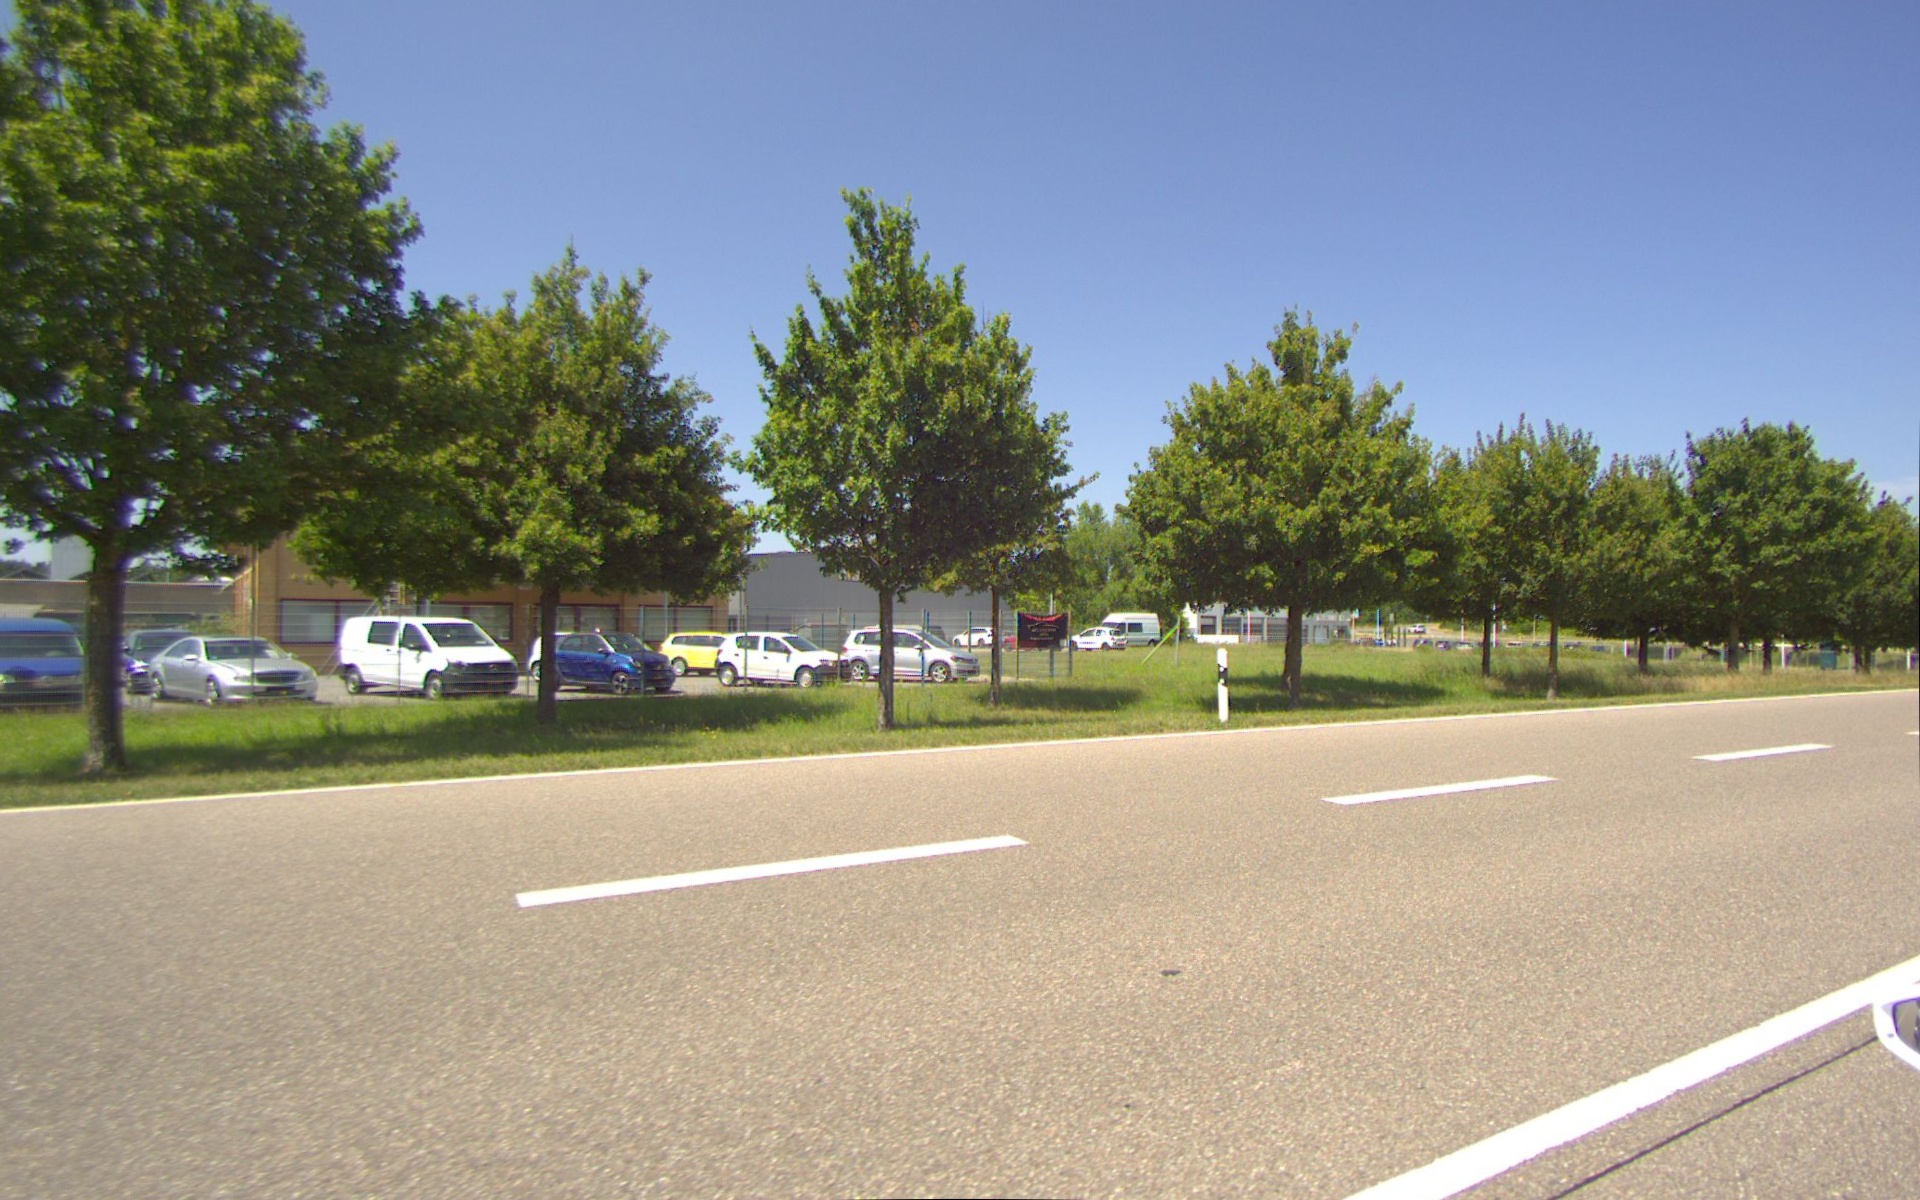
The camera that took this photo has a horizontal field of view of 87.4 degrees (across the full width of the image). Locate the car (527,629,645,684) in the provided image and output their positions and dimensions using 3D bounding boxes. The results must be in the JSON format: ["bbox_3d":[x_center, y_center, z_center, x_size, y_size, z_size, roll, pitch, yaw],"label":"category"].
[{"bbox_3d":[-11.223,1.662,30.123,3.284,1.472,1.511,1,0,27],"label":"car"}]

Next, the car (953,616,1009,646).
[{"bbox_3d":[1.473,2.210,71.872,1.980,2.040,3.961,2,-1,-35],"label":"car"}]

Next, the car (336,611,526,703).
[{"bbox_3d":[-12.773,1.286,24.196,4.581,1.980,1.824,1,0,29],"label":"car"}]

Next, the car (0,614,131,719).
[{"bbox_3d":[-18.363,1.220,19.885,4.235,1.825,2.018,1,-1,36],"label":"car"}]

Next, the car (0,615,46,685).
[{"bbox_3d":[-35.180,1.720,34.583,2.016,2.458,5.103,-1,-3,22],"label":"car"}]

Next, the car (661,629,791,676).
[{"bbox_3d":[-7.874,1.748,33.868,3.920,1.416,1.739,1,0,17],"label":"car"}]

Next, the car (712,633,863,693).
[{"bbox_3d":[-4.890,1.732,28.485,3.915,1.499,1.673,1,0,21],"label":"car"}]

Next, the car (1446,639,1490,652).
[{"bbox_3d":[56.805,5.116,112.387,3.922,1.412,2.000,1,-2,-3],"label":"car"}]

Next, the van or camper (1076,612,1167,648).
[{"bbox_3d":[11.387,2.118,70.640,6.473,2.394,2.446,2,-1,-35],"label":"van or camper"}]

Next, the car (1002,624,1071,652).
[{"bbox_3d":[4.465,2.188,58.807,1.910,1.528,3.959,2,-1,-36],"label":"car"}]

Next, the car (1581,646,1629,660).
[{"bbox_3d":[68.827,5.677,107.174,3.922,1.412,2.000,1,-2,-3],"label":"car"}]

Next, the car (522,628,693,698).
[{"bbox_3d":[-9.232,1.592,26.340,3.923,1.617,1.999,1,-1,24],"label":"car"}]

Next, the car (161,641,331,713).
[{"bbox_3d":[-15.450,1.601,21.708,3.617,1.281,1.811,1,-1,33],"label":"car"}]

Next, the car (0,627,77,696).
[{"bbox_3d":[-22.119,1.381,23.549,1.625,1.427,3.663,1,-1,-34],"label":"car"}]

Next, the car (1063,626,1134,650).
[{"bbox_3d":[8.558,2.351,62.281,3.944,1.372,1.989,0,-2,44],"label":"car"}]

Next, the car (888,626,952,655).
[{"bbox_3d":[-2.190,2.177,54.582,1.723,1.439,3.573,2,-1,-38],"label":"car"}]

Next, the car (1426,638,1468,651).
[{"bbox_3d":[55.961,5.112,115.494,3.922,1.412,2.000,1,-2,-3],"label":"car"}]

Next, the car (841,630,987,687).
[{"bbox_3d":[-1.435,1.783,31.259,4.257,1.563,1.589,1,0,20],"label":"car"}]
